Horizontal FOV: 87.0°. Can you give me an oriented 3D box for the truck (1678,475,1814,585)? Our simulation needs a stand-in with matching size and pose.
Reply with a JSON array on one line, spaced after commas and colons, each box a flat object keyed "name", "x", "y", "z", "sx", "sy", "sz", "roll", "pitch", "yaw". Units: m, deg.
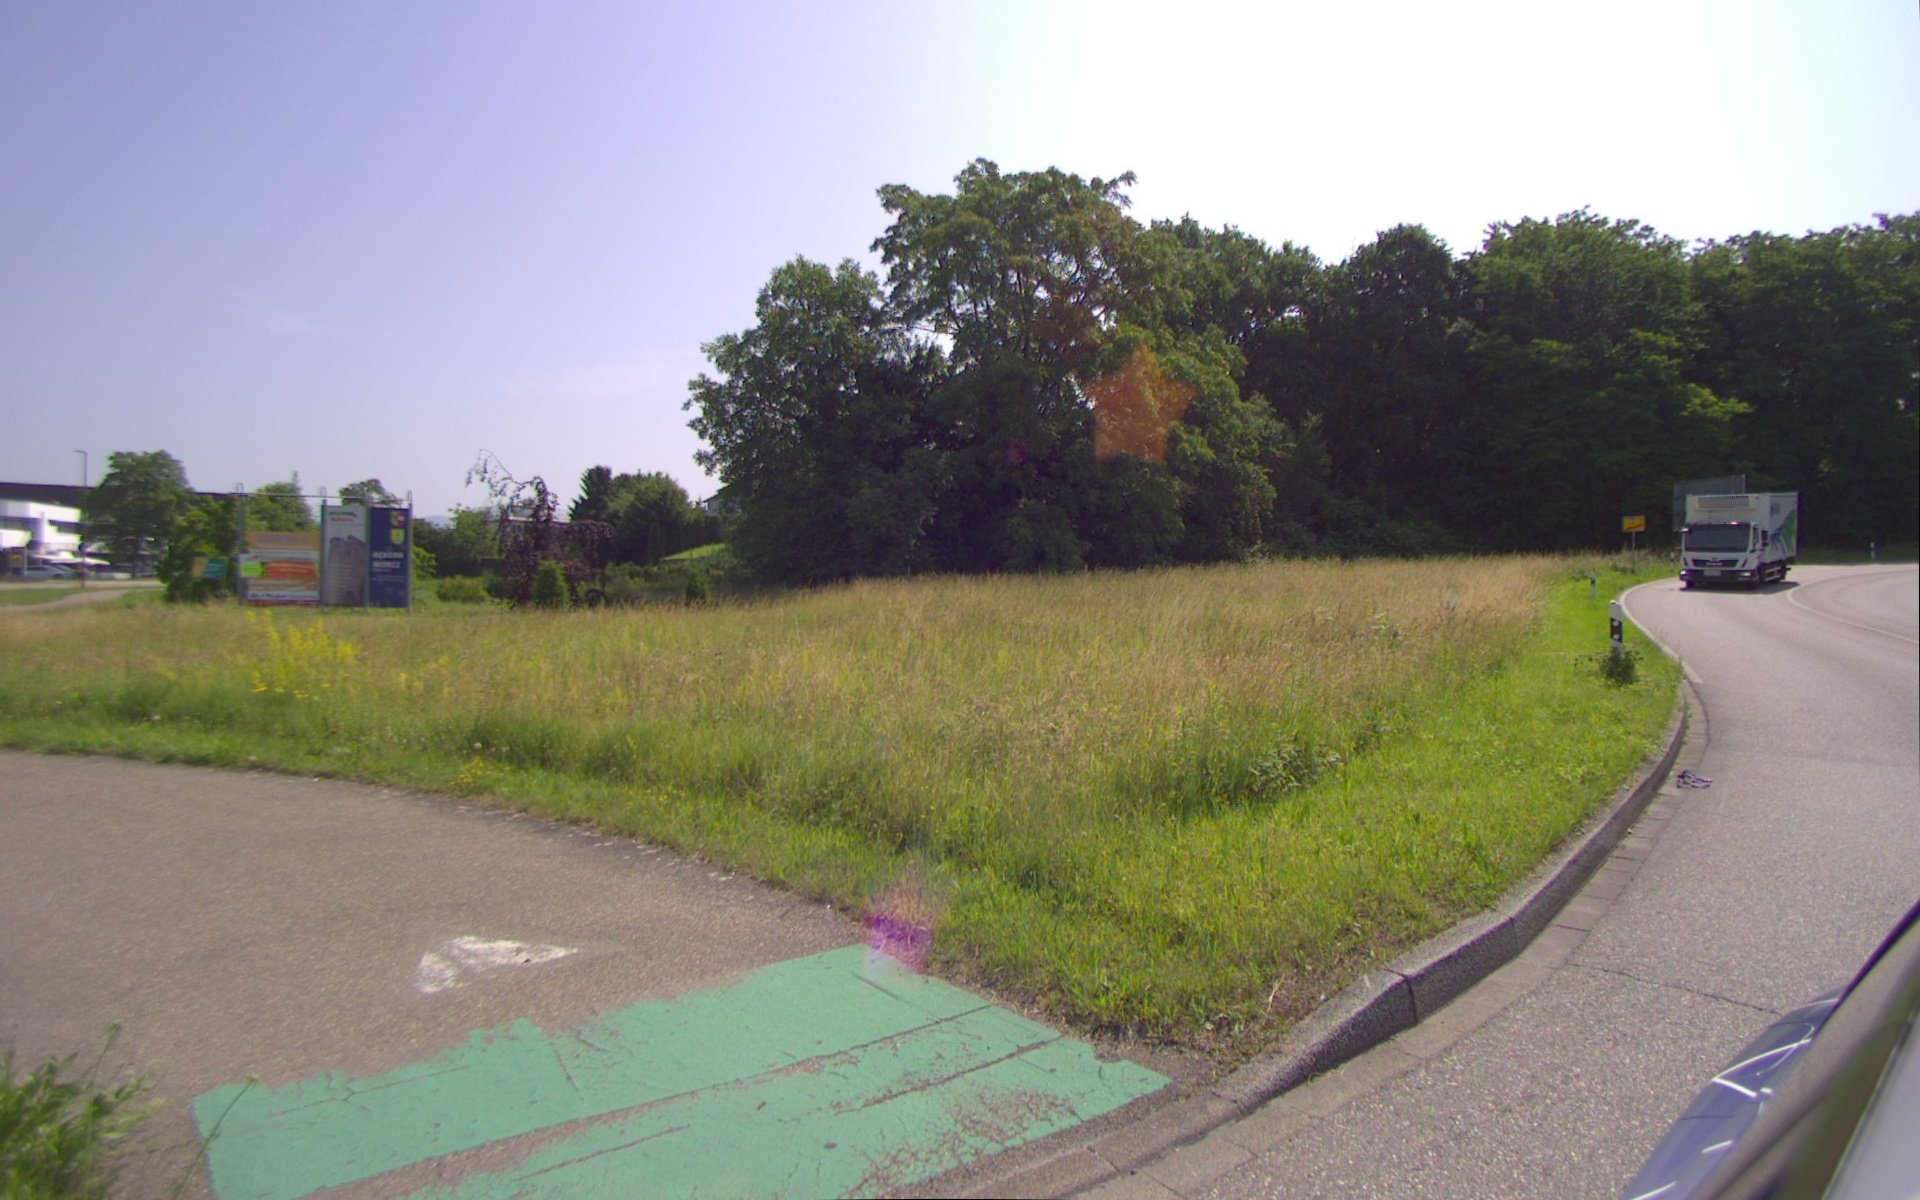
[{"name": "truck", "x": 31.116, "y": -2.587, "z": 39.904, "sx": 8.874, "sy": 3.877, "sz": 2.893, "roll": -2, "pitch": 1, "yaw": -43}]
